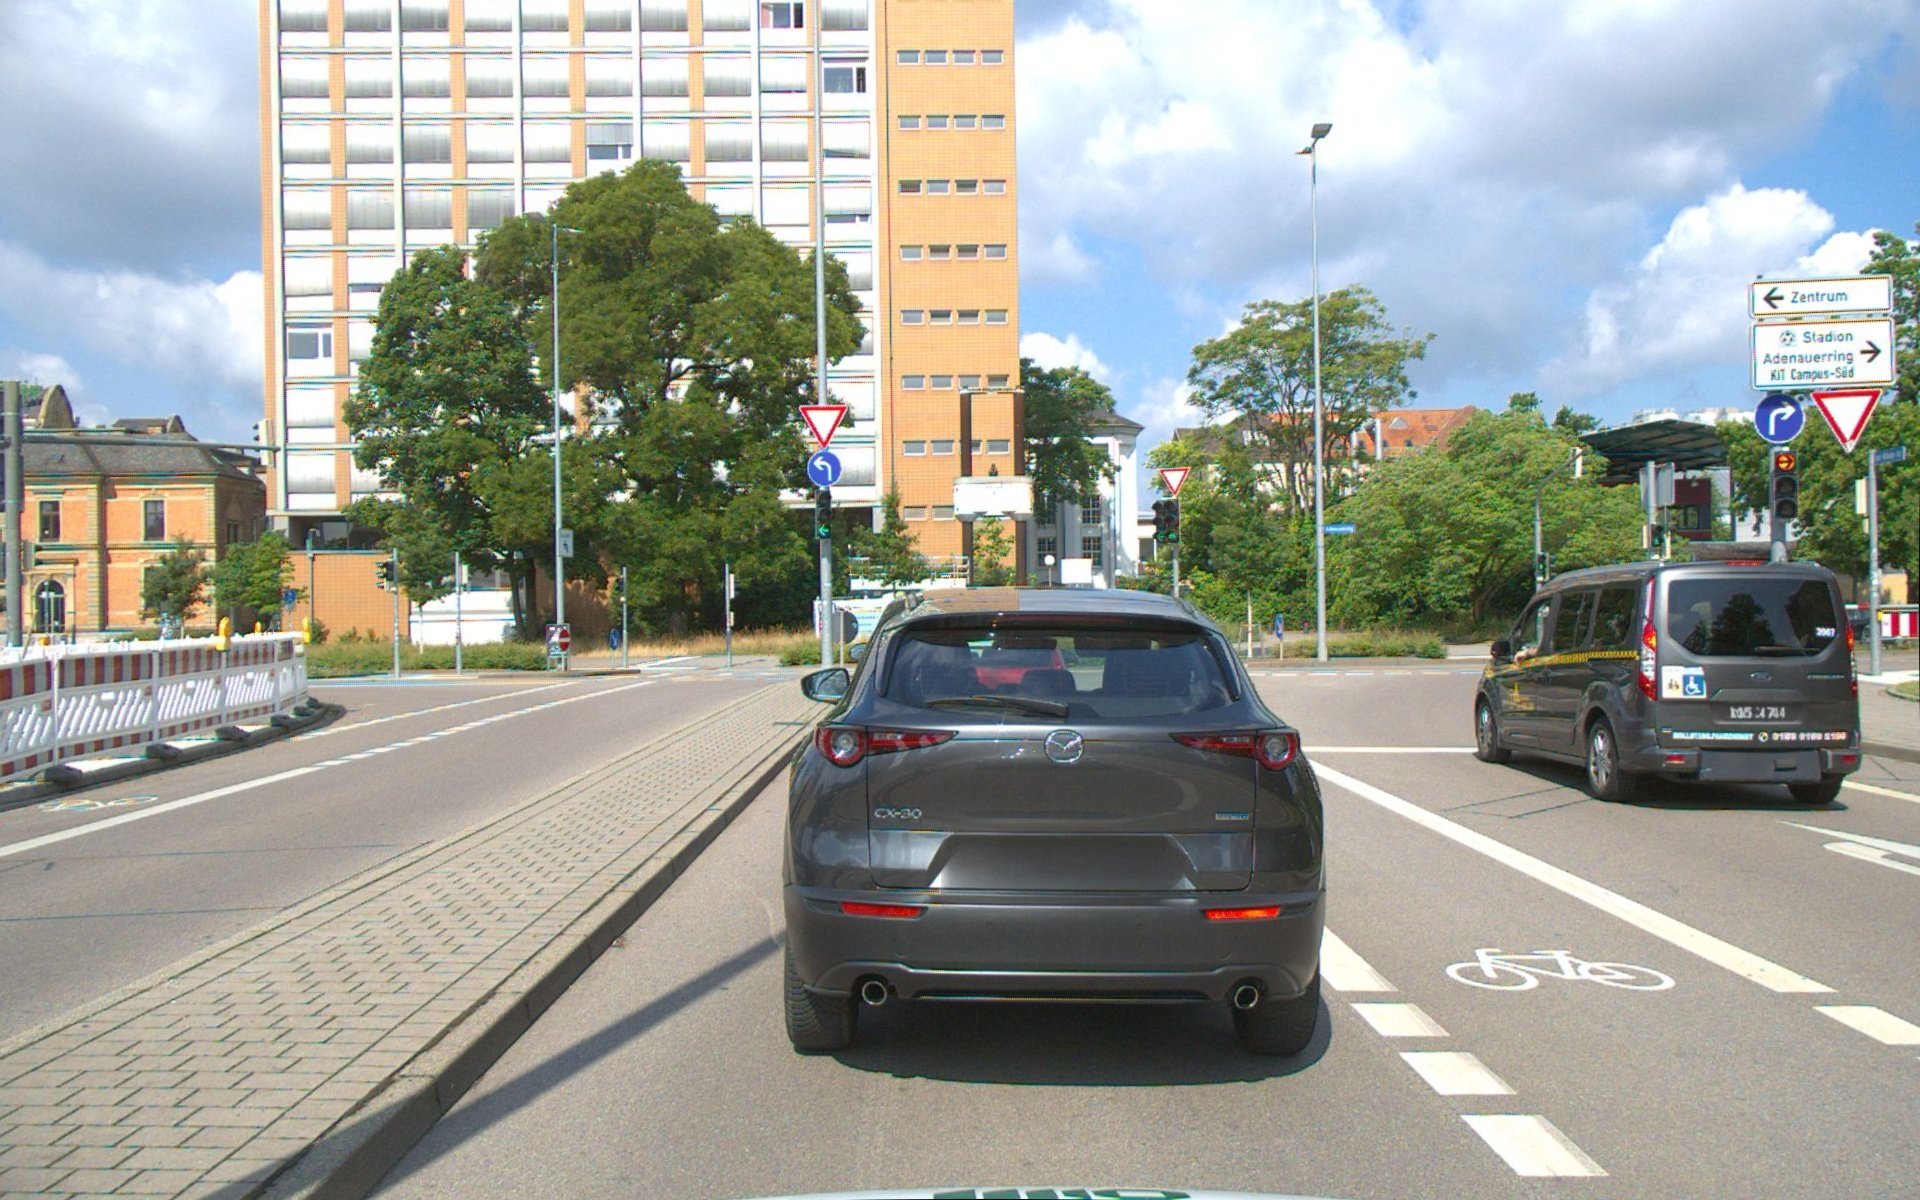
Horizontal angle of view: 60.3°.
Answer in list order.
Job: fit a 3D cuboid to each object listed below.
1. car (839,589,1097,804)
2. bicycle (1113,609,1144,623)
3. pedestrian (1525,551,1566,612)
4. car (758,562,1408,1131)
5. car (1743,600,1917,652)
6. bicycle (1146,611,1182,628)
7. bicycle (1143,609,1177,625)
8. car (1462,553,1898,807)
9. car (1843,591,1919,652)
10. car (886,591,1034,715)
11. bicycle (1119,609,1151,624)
[{"bbox_3d":[0.101,0.682,13.581,1.779,1.465,4.068,1,0,1],"label":"car"},{"bbox_3d":[11.771,1.105,115.566,2.013,0.953,0.804,-1,-1,-2],"label":"bicycle"},{"bbox_3d":[18.534,-0.572,52.403,0.684,1.889,1.177,-1,0,-11],"label":"pedestrian"},{"bbox_3d":[0.315,0.687,6.680,1.769,1.534,4.204,1,0,-1],"label":"car"},{"bbox_3d":[25.658,0.757,48.879,4.061,1.401,2.000,-1,0,1],"label":"car"},{"bbox_3d":[12.125,1.137,98.519,2.013,0.953,0.804,-1,-1,-2],"label":"bicycle"},{"bbox_3d":[12.407,1.061,102.521,2.013,0.953,0.804,-1,-1,-2],"label":"bicycle"},{"bbox_3d":[5.855,0.570,14.167,1.810,1.816,4.672,0,0,1],"label":"car"},{"bbox_3d":[25.184,0.511,41.708,4.664,1.467,2.063,-1,-3,4],"label":"car"},{"bbox_3d":[0.015,0.664,22.743,1.810,1.498,4.335,-1,0,0],"label":"car"},{"bbox_3d":[11.727,1.085,110.706,2.013,0.953,0.804,-1,-1,-2],"label":"bicycle"}]
